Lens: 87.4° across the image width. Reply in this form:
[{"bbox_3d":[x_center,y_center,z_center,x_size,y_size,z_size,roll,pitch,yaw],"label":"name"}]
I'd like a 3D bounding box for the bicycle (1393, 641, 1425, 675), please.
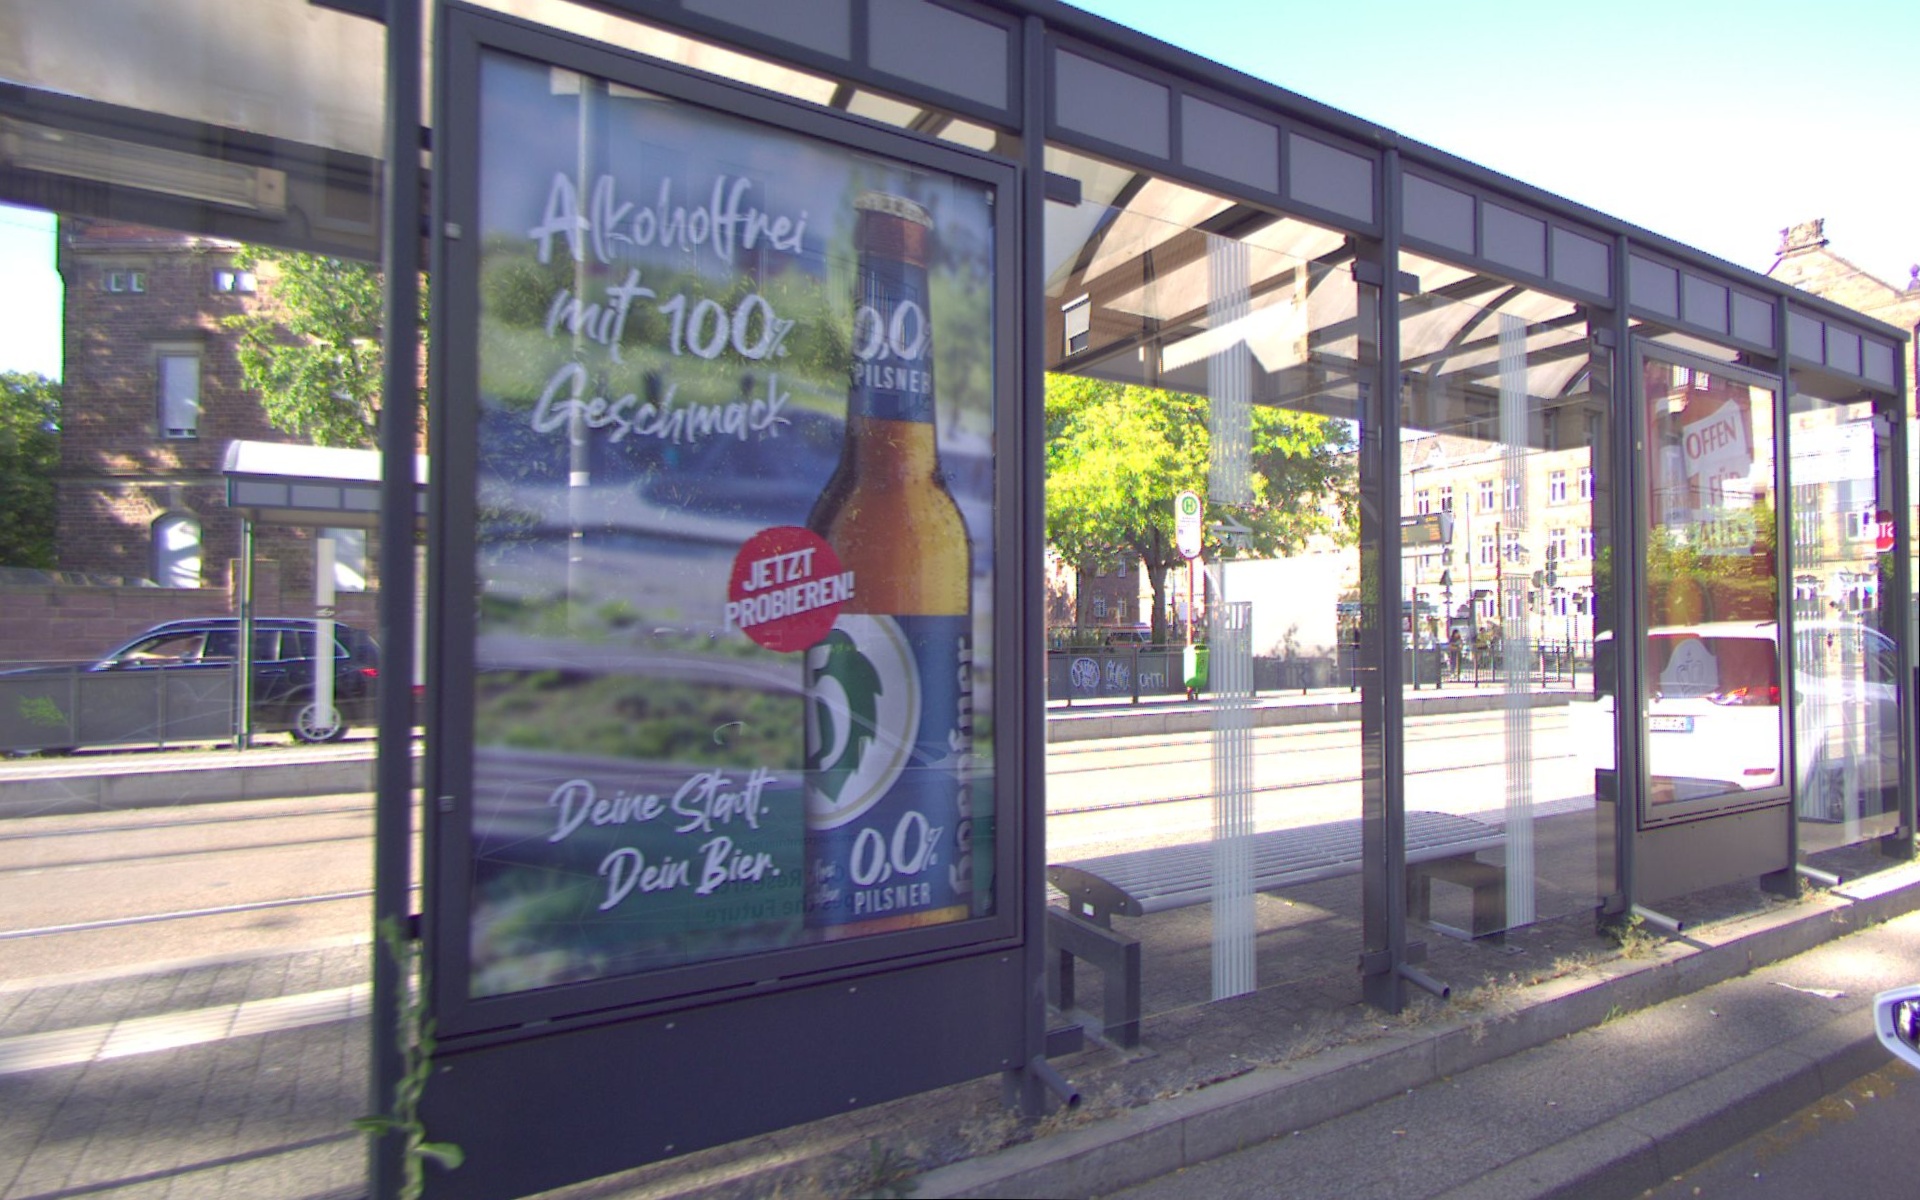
[{"bbox_3d":[14.892,1.907,33.290,0.682,1.063,1.664,0,-2,34],"label":"bicycle"}]

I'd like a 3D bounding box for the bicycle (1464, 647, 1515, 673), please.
[{"bbox_3d":[22.100,2.482,41.965,0.792,1.027,1.727,1,-2,-29],"label":"bicycle"}]

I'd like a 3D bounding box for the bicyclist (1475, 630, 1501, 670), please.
[{"bbox_3d":[22.084,2.079,42.002,0.792,1.657,0.631,1,-1,-30],"label":"bicyclist"}]

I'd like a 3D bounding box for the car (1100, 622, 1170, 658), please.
[{"bbox_3d":[12.256,2.770,70.620,2.234,2.485,5.006,1,-2,-30],"label":"car"}]

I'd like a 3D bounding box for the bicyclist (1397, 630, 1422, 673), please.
[{"bbox_3d":[14.959,1.709,33.392,0.679,1.402,0.532,0,-1,35],"label":"bicyclist"}]

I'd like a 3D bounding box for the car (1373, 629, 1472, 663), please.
[{"bbox_3d":[22.024,2.159,47.976,1.853,1.542,4.050,1,-2,-27],"label":"car"}]

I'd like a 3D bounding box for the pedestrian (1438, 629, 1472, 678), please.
[{"bbox_3d":[16.421,1.776,33.339,0.816,1.590,0.574,0,0,-9],"label":"pedestrian"}]

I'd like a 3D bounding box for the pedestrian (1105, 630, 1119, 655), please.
[{"bbox_3d":[9.870,2.742,65.171,0.533,1.619,0.712,1,-1,-29],"label":"pedestrian"}]

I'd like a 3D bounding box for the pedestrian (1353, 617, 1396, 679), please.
[{"bbox_3d":[12.942,1.480,31.363,1.082,1.885,0.724,1,-1,-27],"label":"pedestrian"}]

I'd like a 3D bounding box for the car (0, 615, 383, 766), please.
[{"bbox_3d":[-9.948,1.063,12.962,4.306,1.699,1.898,1,-2,-30],"label":"car"}]
